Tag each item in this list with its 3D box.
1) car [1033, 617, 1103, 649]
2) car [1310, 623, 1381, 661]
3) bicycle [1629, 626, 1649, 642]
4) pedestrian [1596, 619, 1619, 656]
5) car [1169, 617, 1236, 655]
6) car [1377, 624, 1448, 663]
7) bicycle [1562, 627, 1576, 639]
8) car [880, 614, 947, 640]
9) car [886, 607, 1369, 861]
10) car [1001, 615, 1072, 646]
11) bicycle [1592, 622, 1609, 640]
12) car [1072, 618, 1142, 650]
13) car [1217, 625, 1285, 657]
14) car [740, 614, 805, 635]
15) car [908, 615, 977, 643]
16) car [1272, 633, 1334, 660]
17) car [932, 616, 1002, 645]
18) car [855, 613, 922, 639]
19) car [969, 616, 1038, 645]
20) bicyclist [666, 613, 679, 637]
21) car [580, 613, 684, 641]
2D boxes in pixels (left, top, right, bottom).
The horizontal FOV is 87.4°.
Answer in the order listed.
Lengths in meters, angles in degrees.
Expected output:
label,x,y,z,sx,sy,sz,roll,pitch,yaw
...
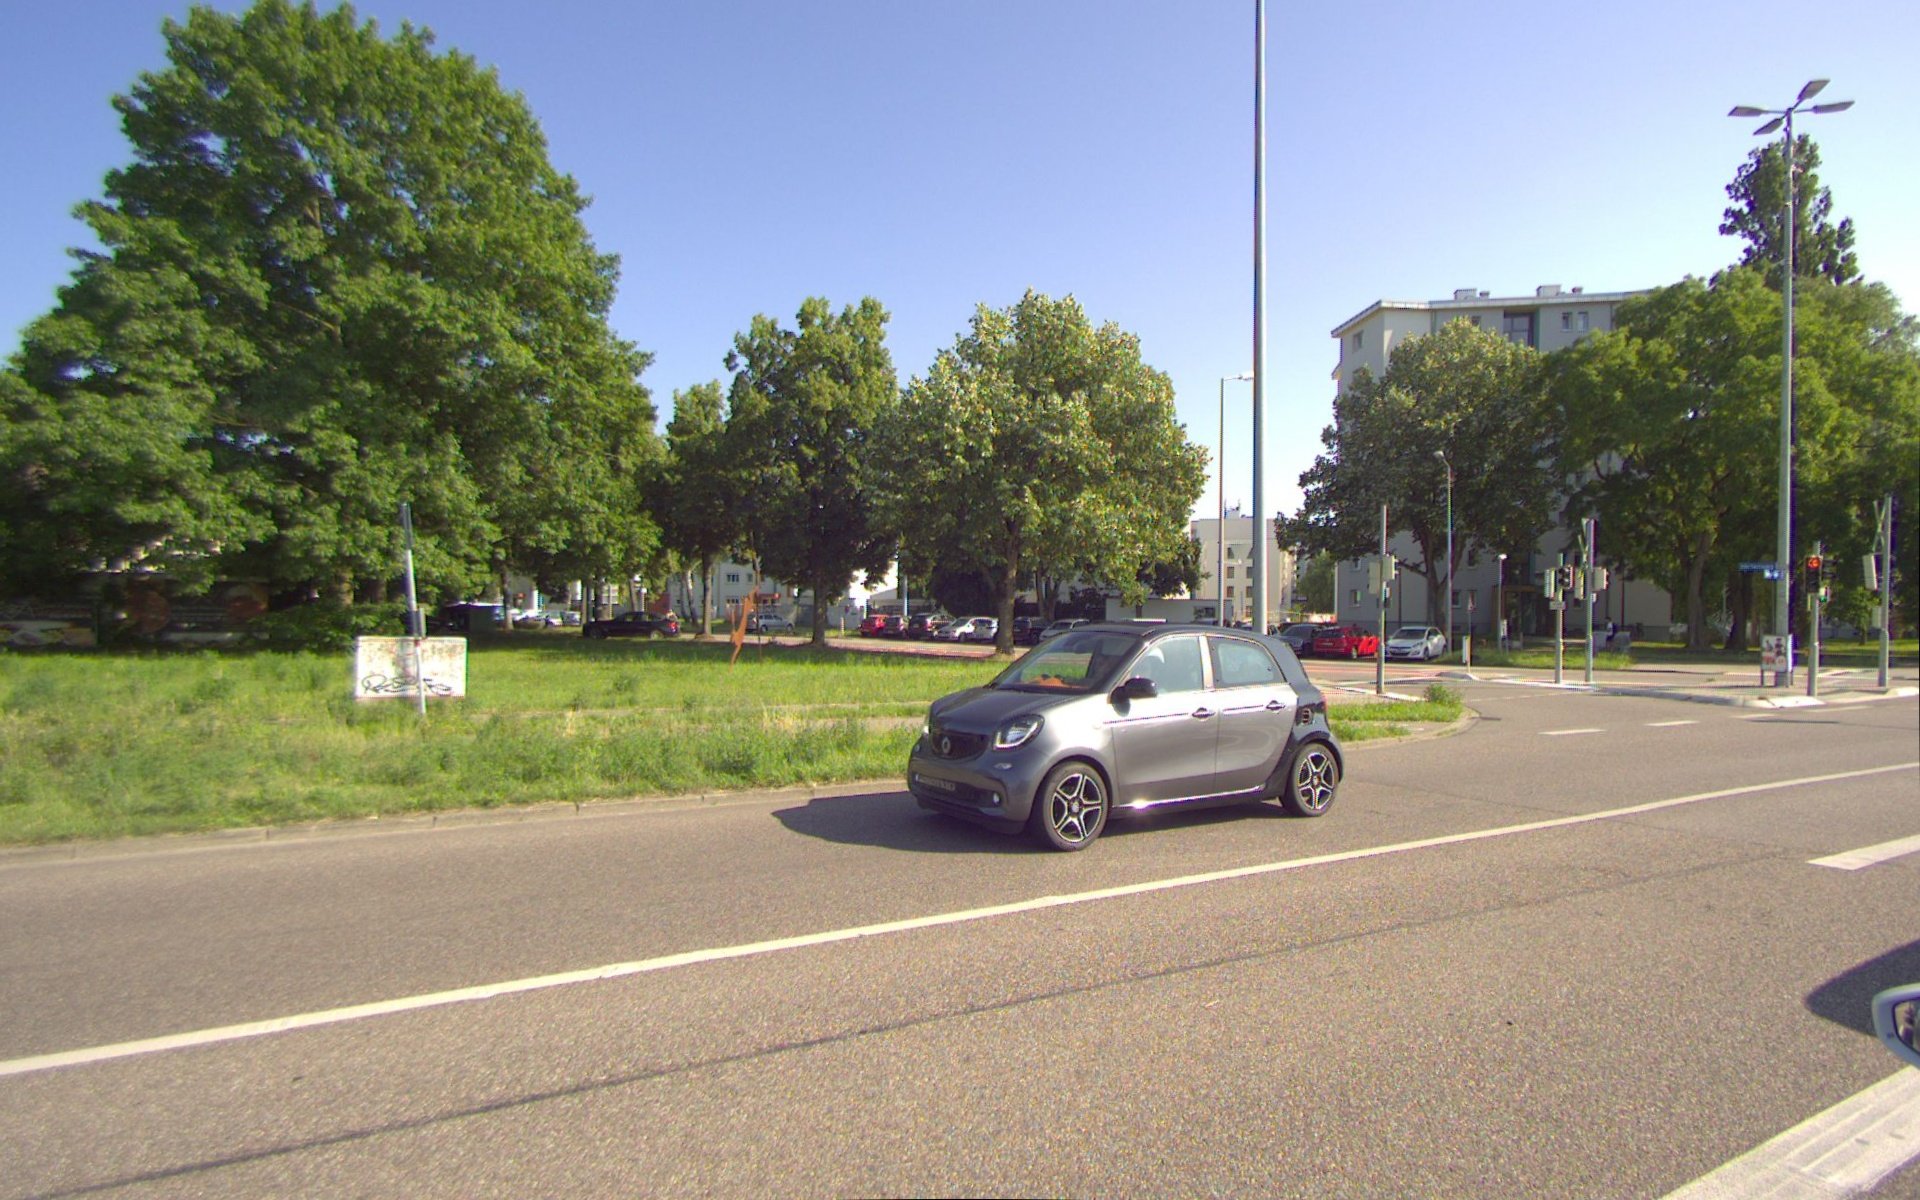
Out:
label,x,y,z,sx,sy,sz,roll,pitch,yaw
car,6.267,1.841,57.807,1.758,1.497,4.692,0,3,39
car,18.222,1.963,47.394,1.761,1.435,3.975,0,3,44
bicycle,42.676,2.134,63.168,0.658,0.932,2.404,1,-1,26
pedestrian,31.016,1.785,48.085,0.693,1.736,0.623,-1,0,-18
car,12.679,1.851,52.402,1.759,1.835,3.979,0,-1,41
car,20.464,1.930,45.330,1.760,1.459,3.977,0,2,43
bicycle,39.364,2.103,64.941,0.574,0.718,2.236,1,0,26
car,-3.044,1.761,66.877,1.758,1.497,4.791,0,2,39
car,1.388,0.901,7.956,3.636,1.581,1.624,1,-2,-32
car,4.608,1.801,59.883,1.758,1.497,4.791,0,3,39
bicycle,40.761,1.980,63.905,0.601,1.080,1.916,1,-2,24
car,8.424,1.896,57.154,1.758,1.497,4.791,0,2,39
car,14.702,2.023,50.564,1.759,1.541,3.979,0,-1,41
car,-14.200,1.868,76.316,1.760,1.497,4.786,0,-1,43
car,-1.063,1.819,64.625,1.758,1.497,4.791,0,2,39
car,16.637,2.207,48.678,1.445,1.209,3.765,0,-1,43
car,0.510,1.868,62.701,1.758,1.497,4.791,0,2,39
car,-4.807,1.754,68.345,1.758,1.497,4.791,0,2,39
car,2.707,1.823,61.459,1.758,1.497,4.755,0,2,39
bicyclist,-19.008,1.651,66.416,0.613,1.544,0.620,-1,1,-40
car,-16.254,1.335,49.936,4.682,1.338,1.524,1,-1,-8
